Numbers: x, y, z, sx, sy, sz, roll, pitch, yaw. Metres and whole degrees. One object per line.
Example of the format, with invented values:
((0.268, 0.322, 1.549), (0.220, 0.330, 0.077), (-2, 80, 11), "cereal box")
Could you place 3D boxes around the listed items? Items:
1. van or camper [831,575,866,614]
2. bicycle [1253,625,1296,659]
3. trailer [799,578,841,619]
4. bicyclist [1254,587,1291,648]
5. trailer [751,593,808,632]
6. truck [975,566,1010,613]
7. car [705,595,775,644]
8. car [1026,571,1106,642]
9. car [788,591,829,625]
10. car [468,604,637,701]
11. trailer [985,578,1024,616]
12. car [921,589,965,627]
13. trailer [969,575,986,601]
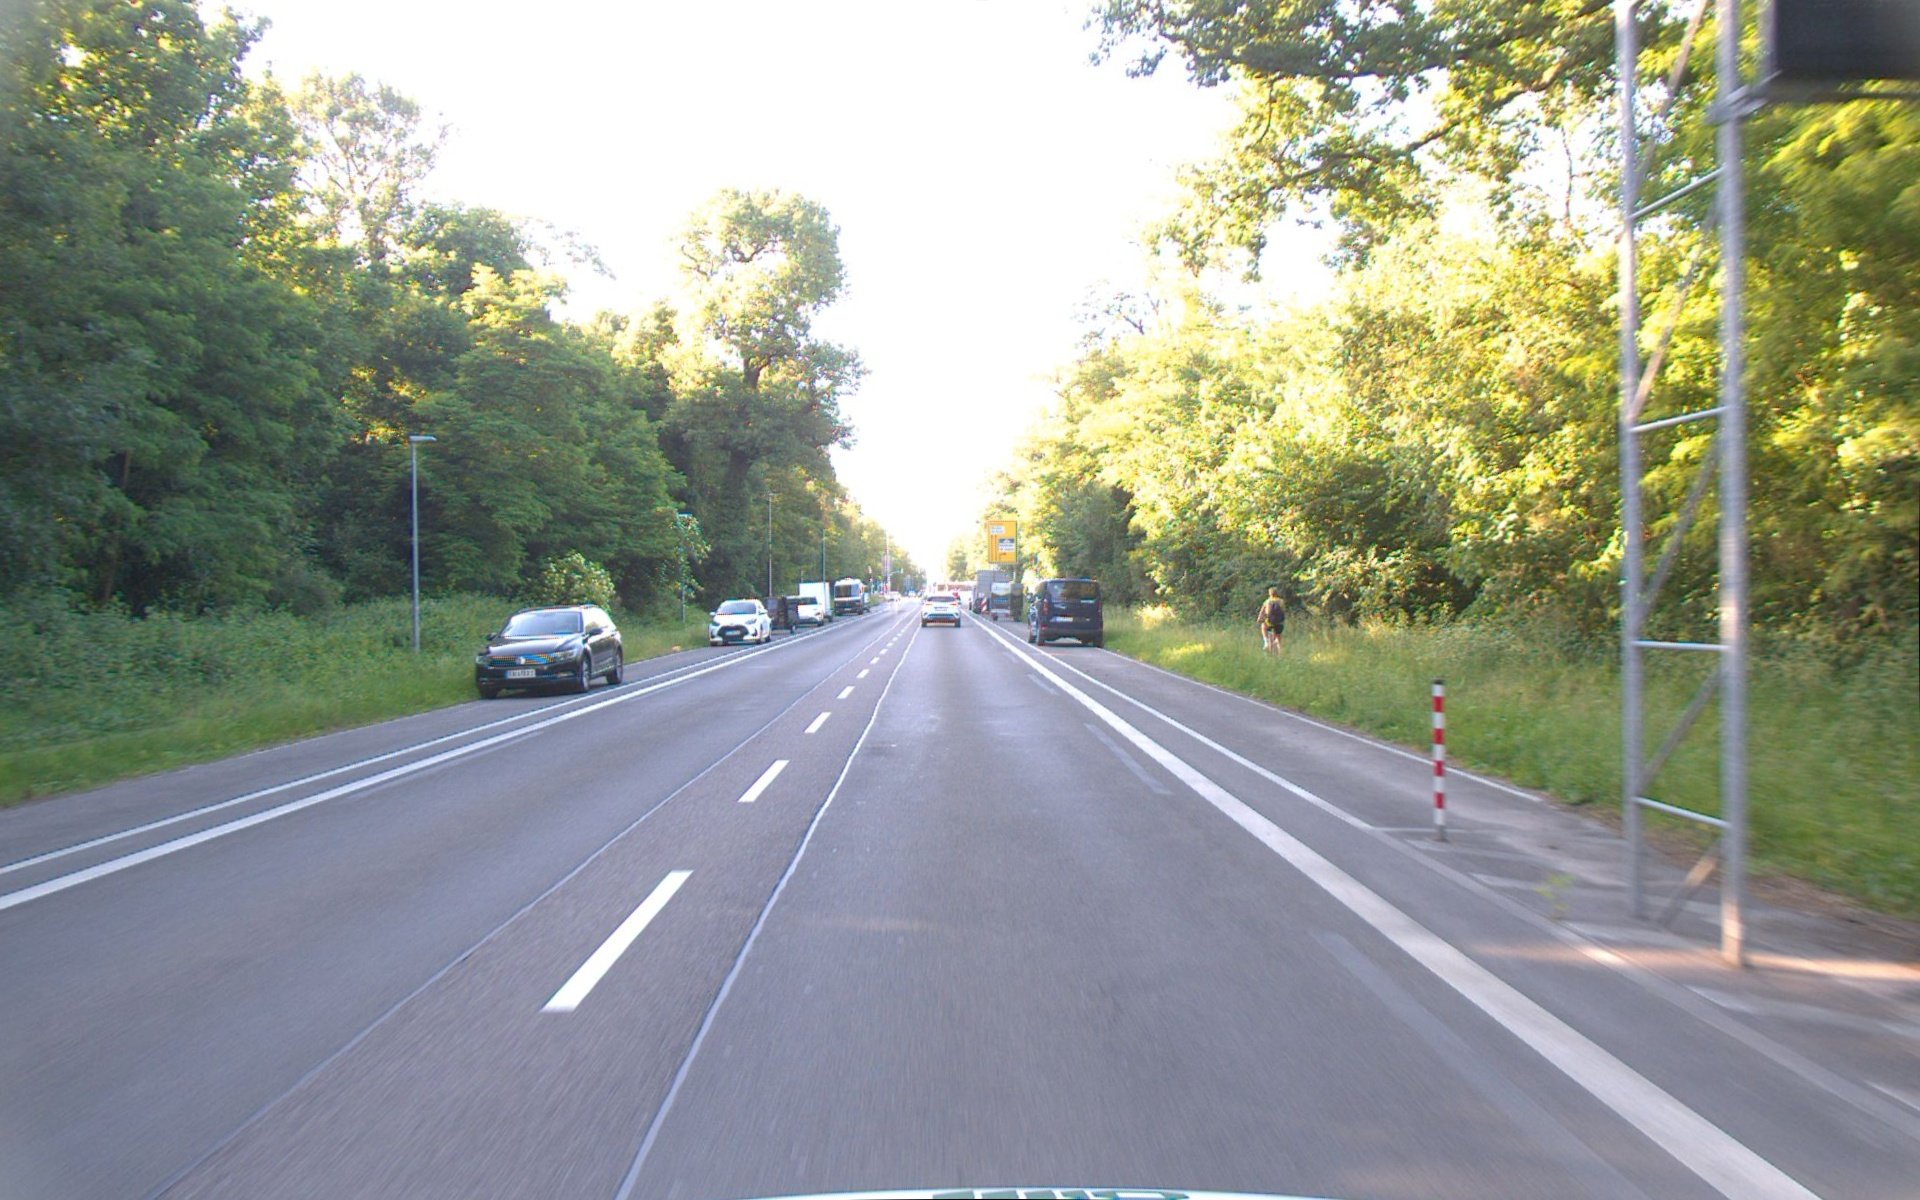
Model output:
((-8.632, -0.415, 128.416), (2.255, 2.816, 5.556), (-3, 0, -1), "van or camper")
((7.125, 0.954, 37.585), (0.579, 0.704, 1.996), (0, 0, -1), "bicycle")
((-8.256, -0.093, 97.579), (2.032, 2.333, 3.487), (-2, 0, 1), "trailer")
((7.079, 0.390, 37.537), (0.598, 1.347, 1.175), (0, 0, -1), "bicyclist")
((-7.558, 0.517, 69.407), (1.366, 1.601, 2.675), (-1, 0, 19), "trailer")
((2.431, -0.771, 125.314), (2.454, 3.425, 7.106), (0, 0, 0), "truck")
((-7.412, 0.638, 56.059), (1.829, 1.475, 4.070), (-3, 0, -1), "car")
((3.212, 0.179, 51.078), (2.070, 2.049, 5.039), (1, 0, -1), "car")
((-7.649, 0.389, 83.861), (1.778, 1.599, 4.205), (-3, 1, -3), "car")
((-7.030, 0.849, 29.025), (1.817, 1.490, 4.783), (-1, 0, -1), "car")
((2.551, -0.164, 95.265), (1.580, 2.149, 2.397), (0, 0, 20), "trailer")
((-0.783, 0.340, 76.372), (1.953, 1.668, 3.999), (-1, 0, -1), "car")
((1.535, -1.097, 148.831), (1.469, 2.274, 4.549), (1, 0, 0), "trailer")
